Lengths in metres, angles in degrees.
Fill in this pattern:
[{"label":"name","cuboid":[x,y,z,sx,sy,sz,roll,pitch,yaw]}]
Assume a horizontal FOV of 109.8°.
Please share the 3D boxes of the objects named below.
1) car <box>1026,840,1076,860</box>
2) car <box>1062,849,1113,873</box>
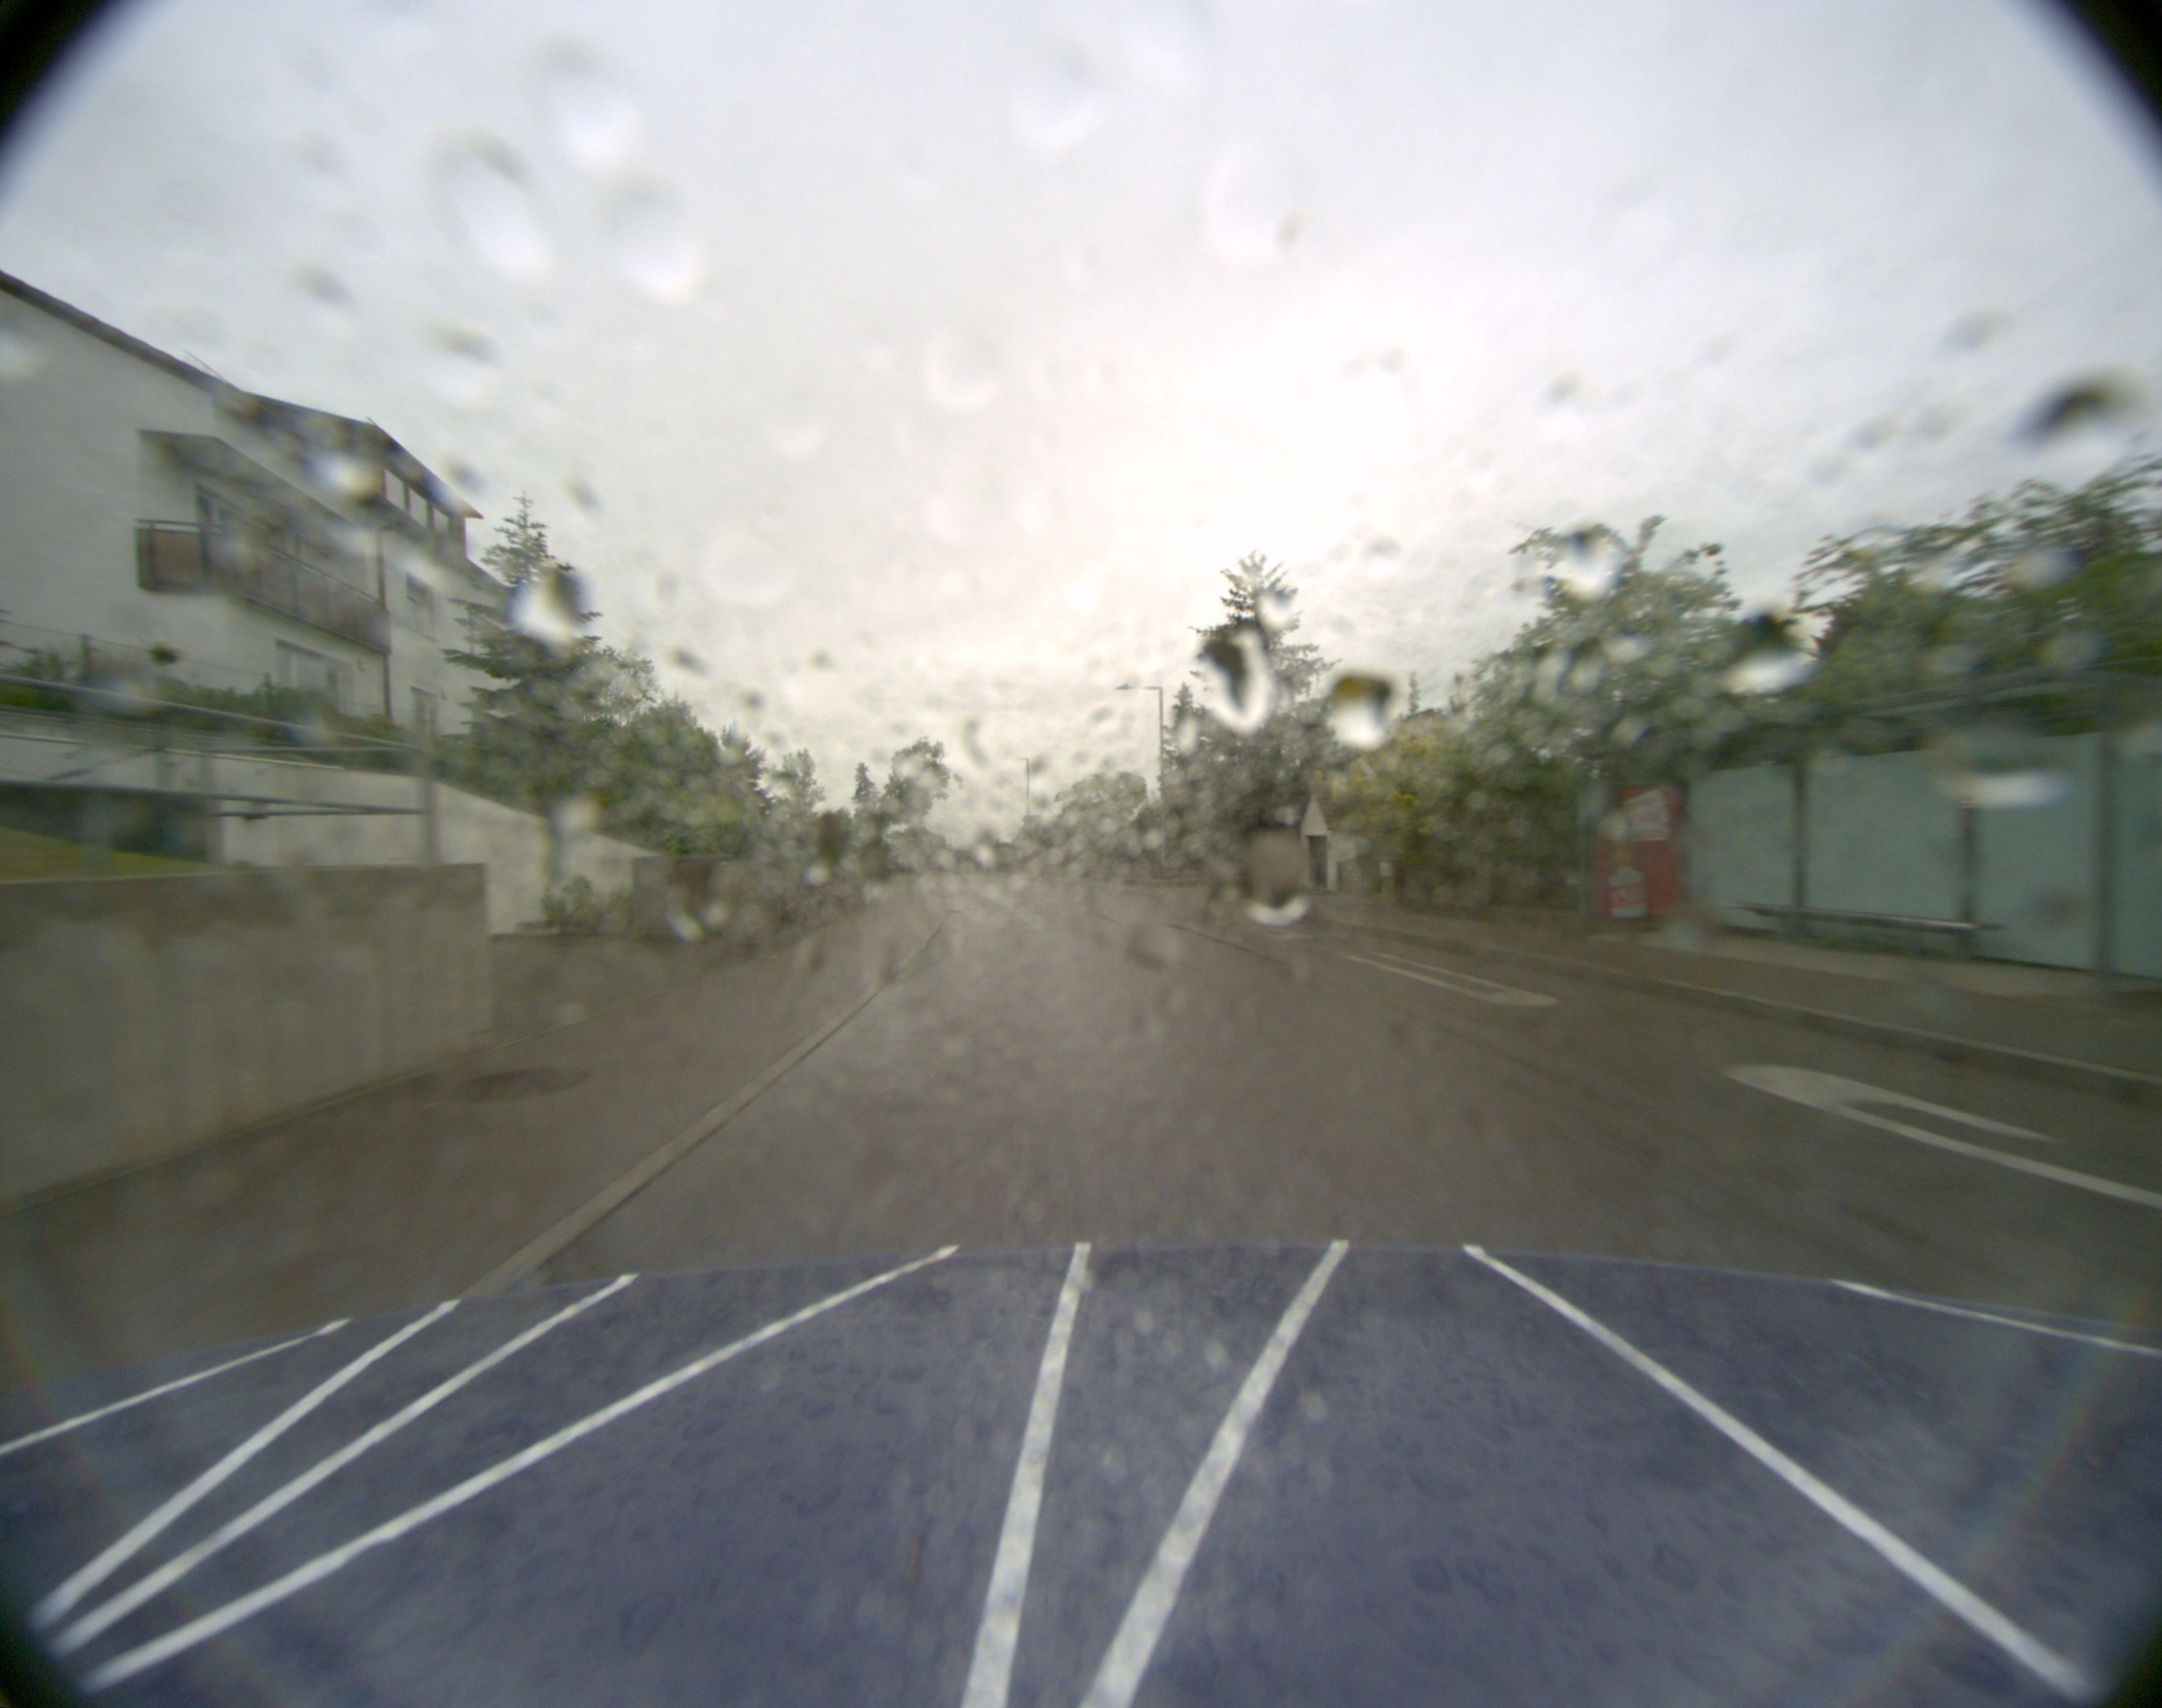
[{"label":"car","cuboid":[-2.321,-0.290,59.644,3.739,1.471,1.454,-2,0,1]},{"label":"car","cuboid":[0.440,0.438,49.667,3.036,1.471,1.455,-2,0,11]}]
